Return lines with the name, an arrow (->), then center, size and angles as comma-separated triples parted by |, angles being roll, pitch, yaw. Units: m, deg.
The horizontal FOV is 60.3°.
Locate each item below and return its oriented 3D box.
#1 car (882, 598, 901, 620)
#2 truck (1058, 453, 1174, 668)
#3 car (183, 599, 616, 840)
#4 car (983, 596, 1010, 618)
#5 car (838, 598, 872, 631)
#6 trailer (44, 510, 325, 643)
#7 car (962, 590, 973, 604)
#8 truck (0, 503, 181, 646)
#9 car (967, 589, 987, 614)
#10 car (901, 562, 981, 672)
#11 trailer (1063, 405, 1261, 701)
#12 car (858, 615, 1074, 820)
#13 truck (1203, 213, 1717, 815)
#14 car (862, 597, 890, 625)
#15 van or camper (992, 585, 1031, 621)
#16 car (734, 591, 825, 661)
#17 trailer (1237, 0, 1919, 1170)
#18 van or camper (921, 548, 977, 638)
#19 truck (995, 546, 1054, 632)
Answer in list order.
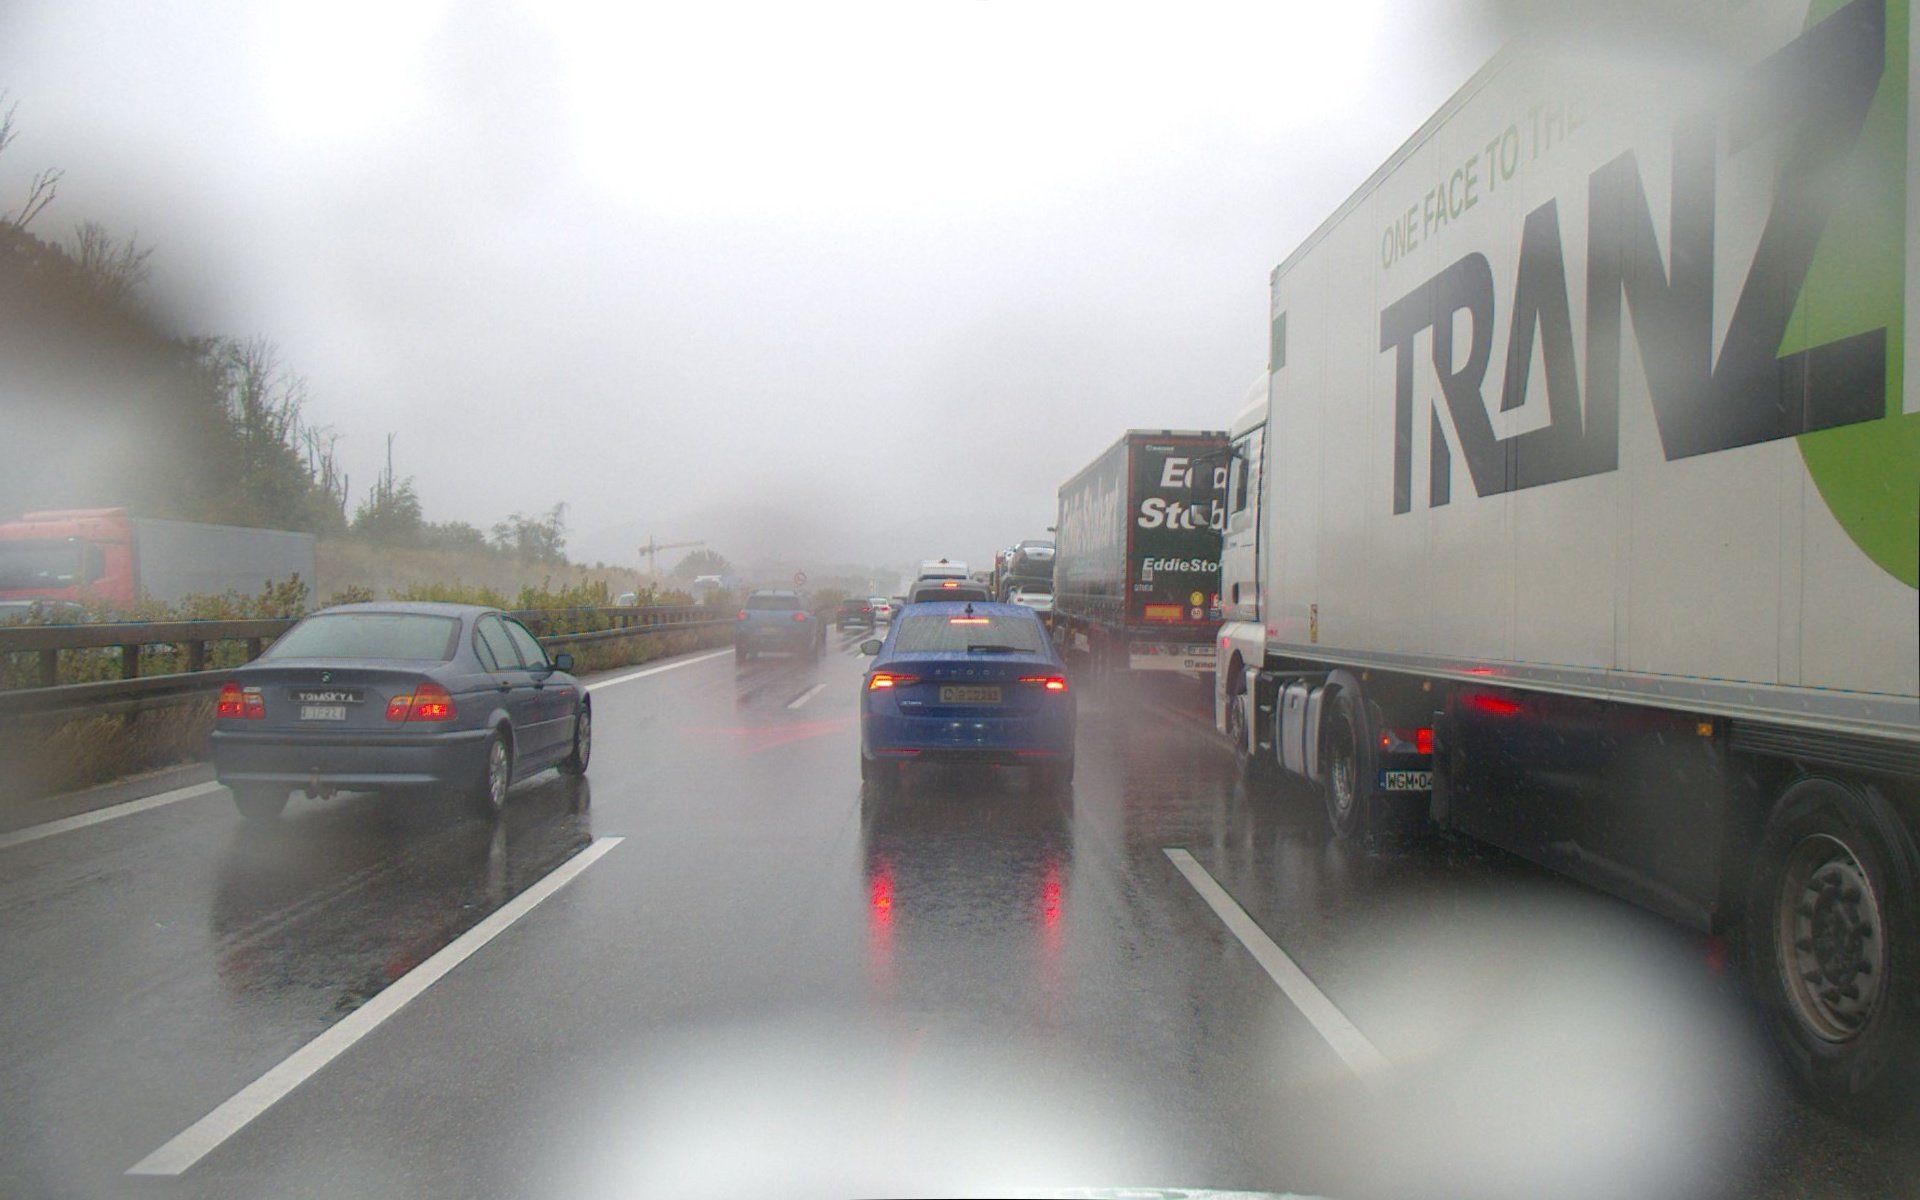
car -> -5.583, 0.735, 135.537 | 1.419, 1.815, 3.409 | 1, 0, -1
truck -> 3.225, -0.804, 34.945 | 2.005, 4.266, 4.000 | 0, 0, -1
car -> -3.824, 0.720, 12.098 | 1.683, 1.424, 4.230 | 0, 0, 0
car -> 2.361, 0.451, 108.215 | 1.605, 1.351, 3.366 | 1, 1, -1
car -> -4.842, 0.649, 76.580 | 1.410, 1.445, 3.321 | 0, 0, -1
trailer -> -21.158, -0.567, 46.138 | 2.631, 3.207, 11.083 | 1, 0, 0
car -> 0.940, -0.365, 215.449 | 1.419, 1.815, 3.409 | 1, 0, -1
truck -> -21.098, -0.586, 39.703 | 2.632, 3.207, 4.604 | 1, 0, -1
car -> 1.283, 0.101, 124.435 | 1.419, 1.815, 3.409 | 1, 0, -1
car -> -0.334, 0.265, 29.087 | 1.309, 1.811, 3.321 | 0, 0, -1
trailer -> 3.270, -0.733, 29.578 | 2.005, 4.249, 11.447 | 0, 0, -1
car -> 0.054, 0.896, 14.364 | 1.602, 1.470, 4.000 | 0, 0, 0
truck -> 3.613, -0.576, 13.161 | 2.577, 3.894, 4.790 | 0, 0, -1
car -> -4.769, 0.605, 93.899 | 1.410, 1.560, 3.321 | 0, 0, -1
van or camper -> 2.504, 0.124, 81.175 | 1.736, 1.653, 4.483 | 1, 1, -1
car -> -4.211, 0.577, 39.124 | 1.686, 1.550, 4.000 | 0, 0, 0
trailer -> 3.681, -0.627, 6.495 | 2.577, 4.083, 14.628 | 0, 0, -1
van or camper -> -0.364, -0.247, 55.402 | 1.761, 2.855, 4.767 | 0, 0, -1
truck -> 2.710, -0.495, 71.282 | 1.953, 3.481, 8.030 | 0, 1, -2
